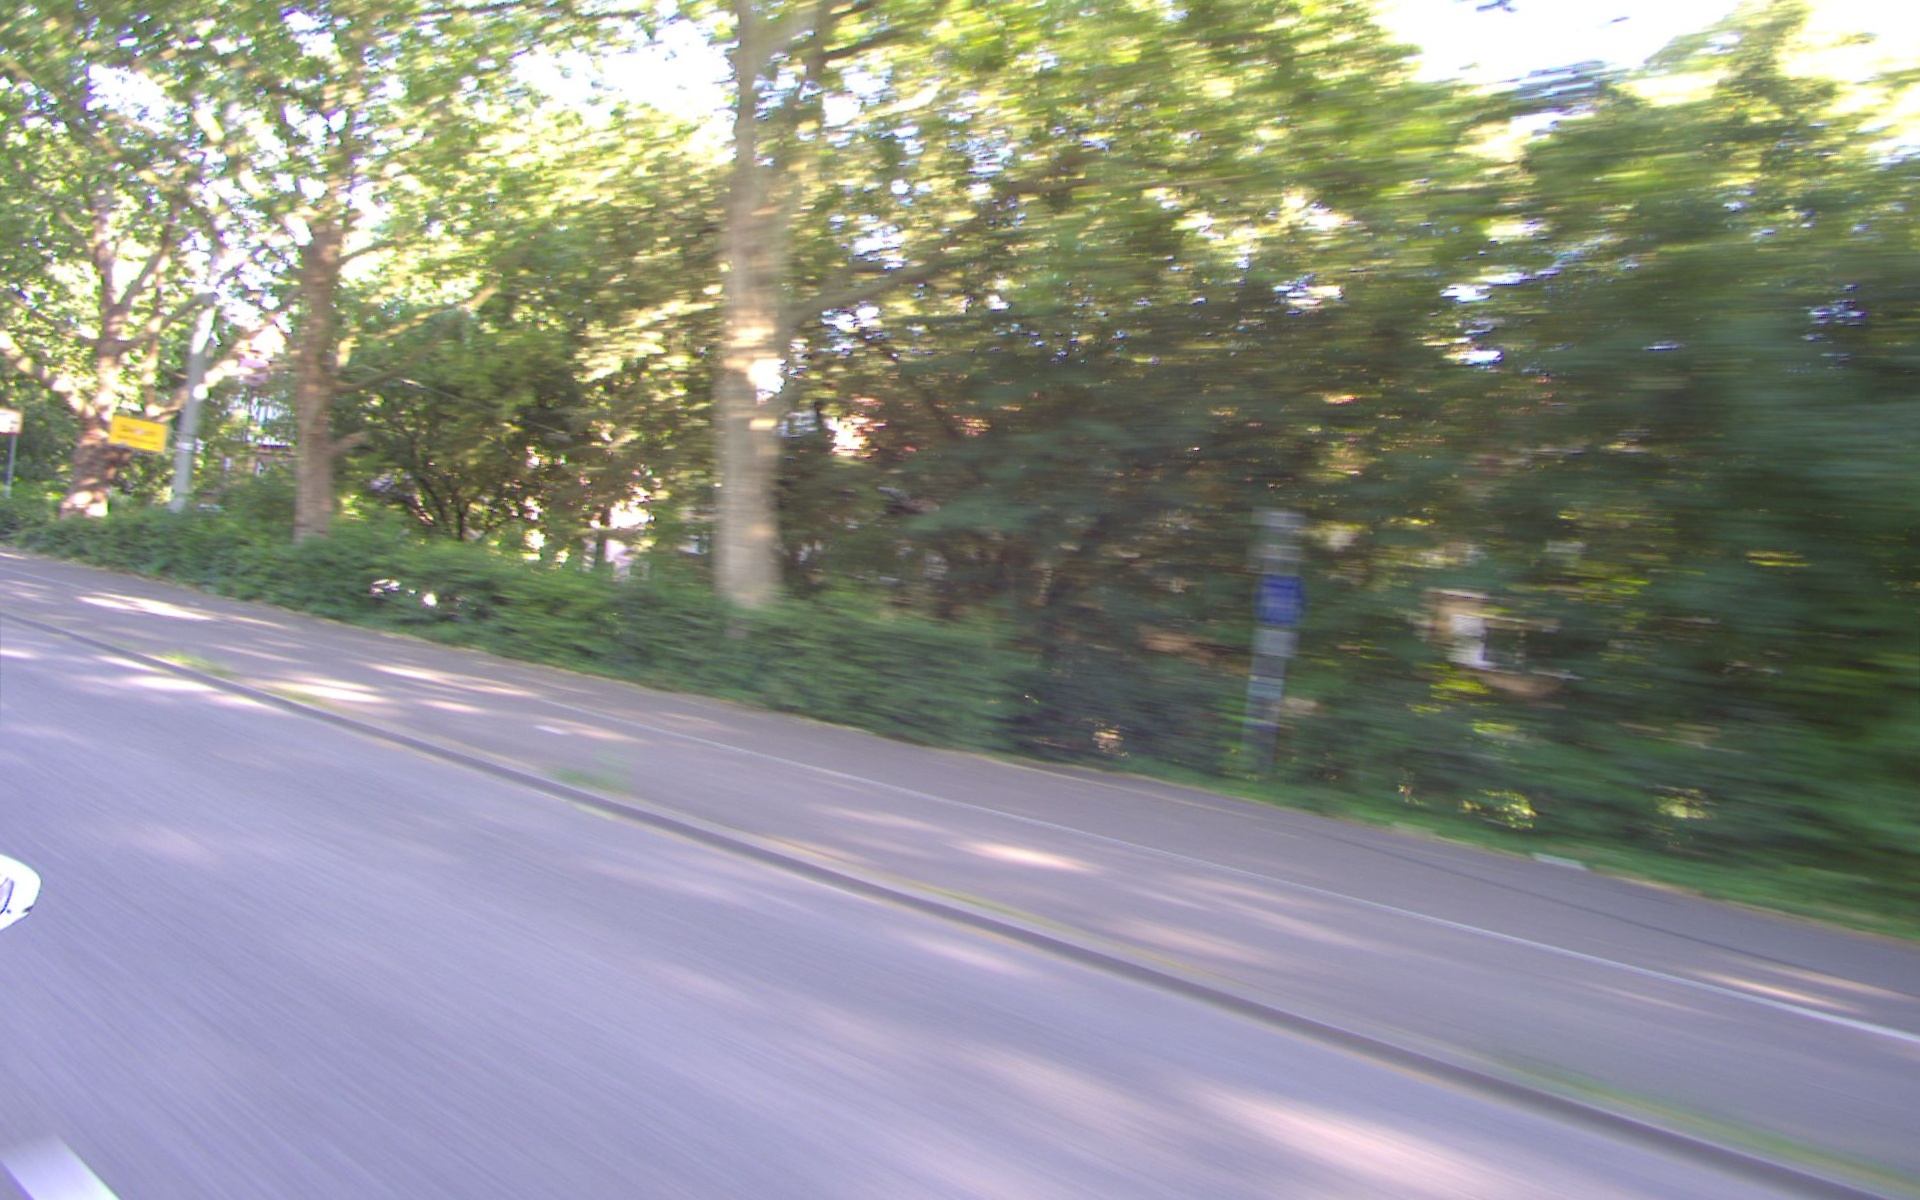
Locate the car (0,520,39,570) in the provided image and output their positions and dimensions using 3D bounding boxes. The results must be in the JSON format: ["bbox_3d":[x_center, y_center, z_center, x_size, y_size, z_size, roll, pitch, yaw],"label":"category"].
[{"bbox_3d":[-40.679,-2.484,42.094,4.030,1.833,1.908,7,-2,30],"label":"car"}]
